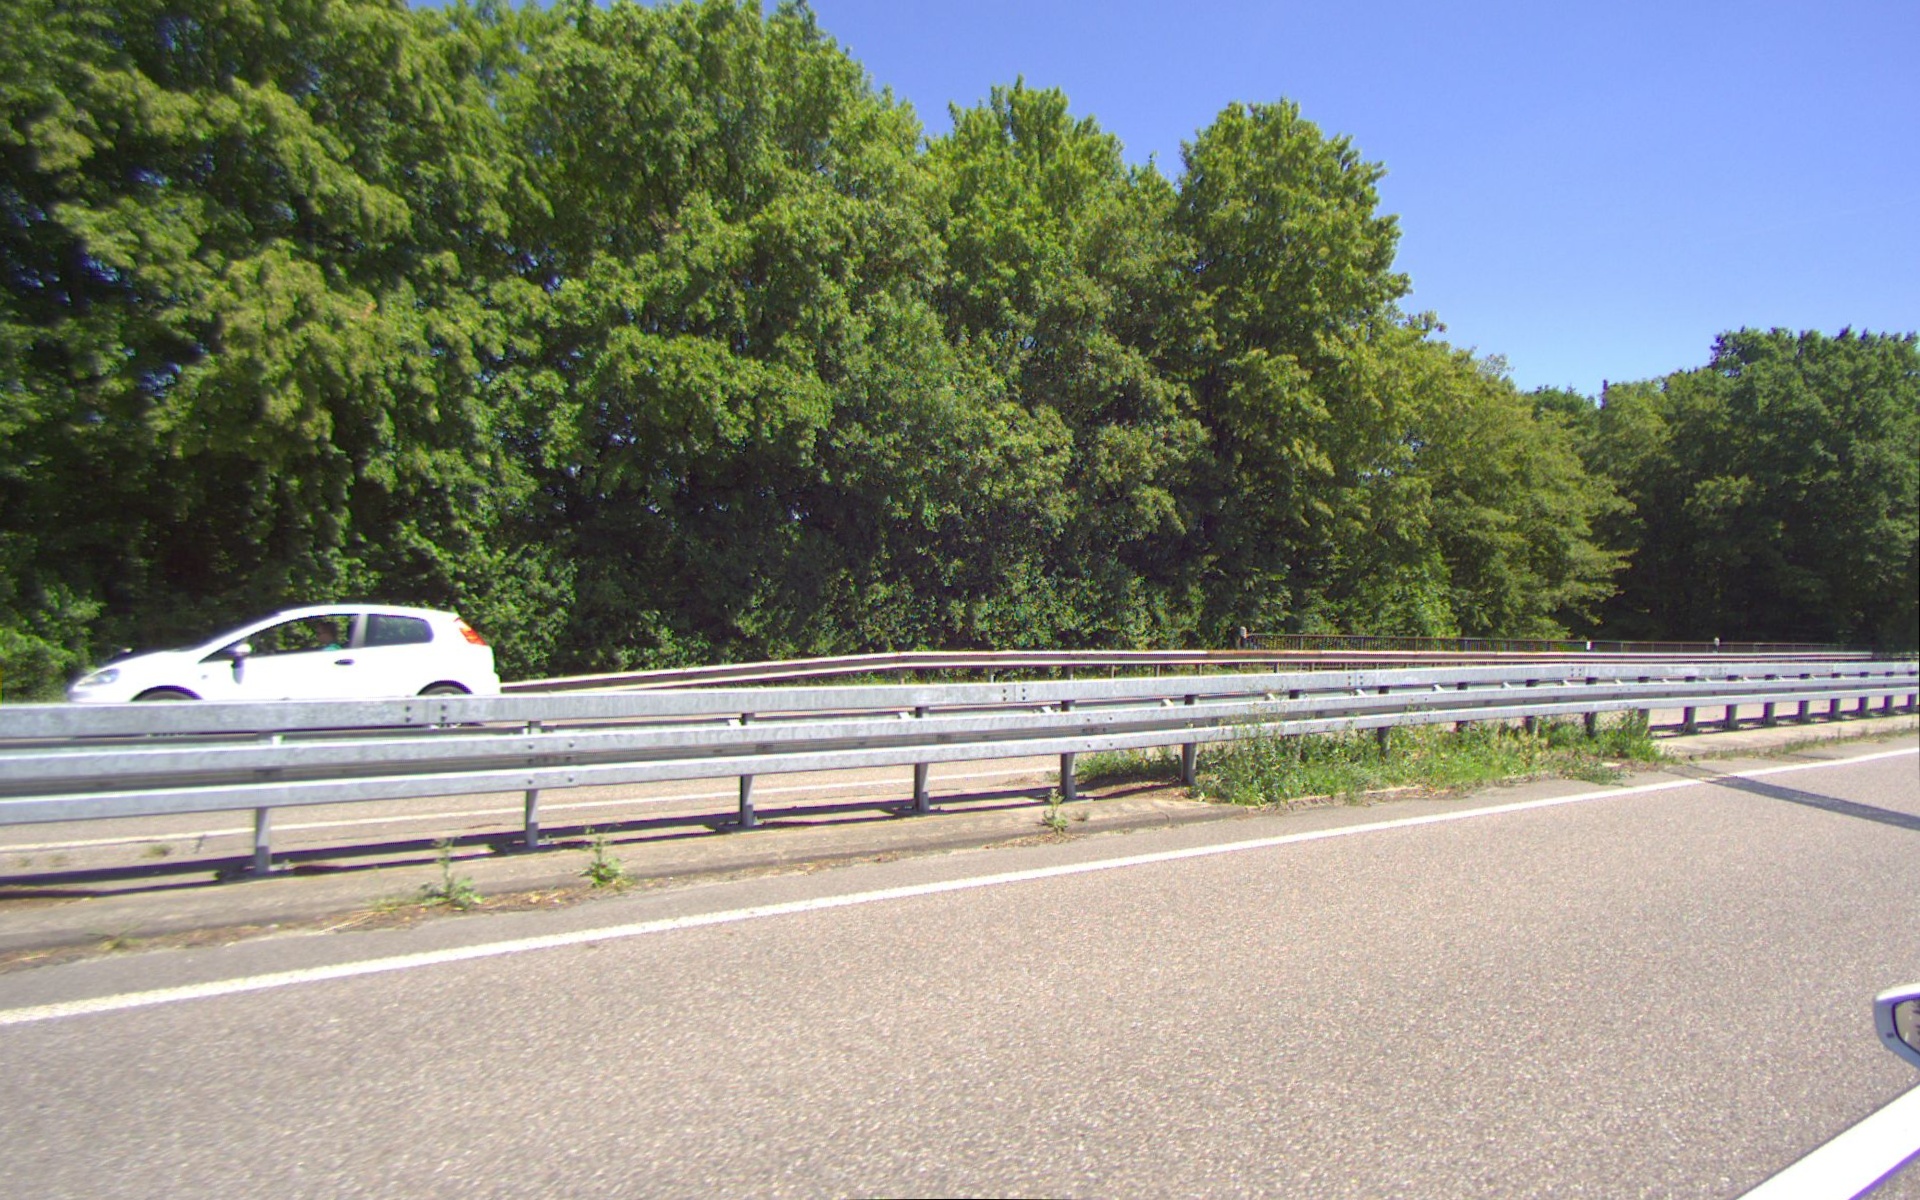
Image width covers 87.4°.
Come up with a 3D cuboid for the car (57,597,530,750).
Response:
[{"bbox_3d":[-7.248,0.764,11.409,4.171,1.466,1.643,2,-1,-31],"label":"car"}]
